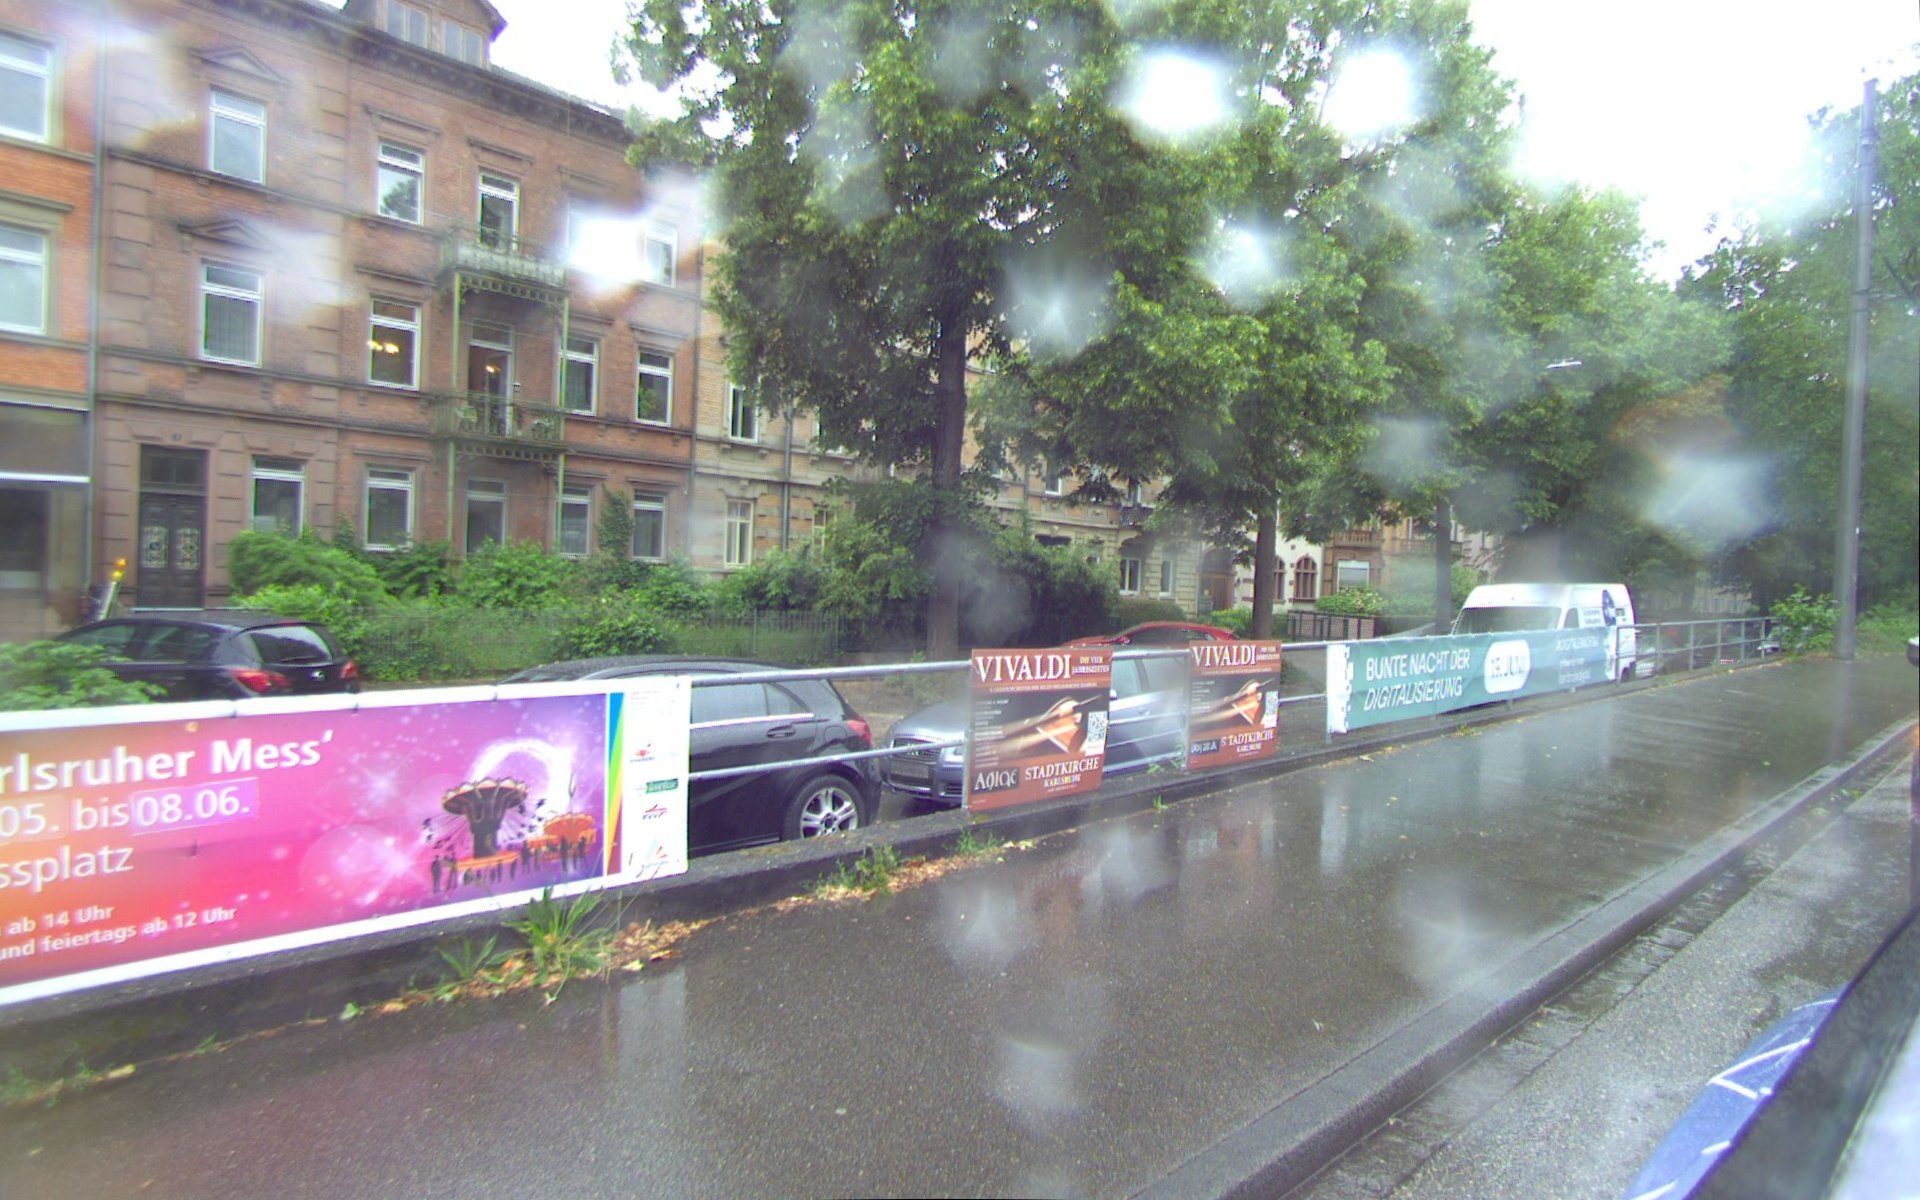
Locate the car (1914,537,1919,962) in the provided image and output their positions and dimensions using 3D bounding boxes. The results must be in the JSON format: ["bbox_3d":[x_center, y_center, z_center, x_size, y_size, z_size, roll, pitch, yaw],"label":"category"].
[{"bbox_3d":[5.745,0.596,4.501,3.612,1.687,1.755,0,1,-39],"label":"car"}]

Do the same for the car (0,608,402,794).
[{"bbox_3d":[-8.542,0.985,11.014,3.931,1.735,1.997,0,0,7],"label":"car"}]

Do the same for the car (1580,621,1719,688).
[{"bbox_3d":[16.657,1.240,24.368,4.312,1.370,1.968,0,0,-44],"label":"car"}]

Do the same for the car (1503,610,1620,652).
[{"bbox_3d":[25.587,1.284,43.174,3.947,1.629,1.815,1,1,19],"label":"car"}]

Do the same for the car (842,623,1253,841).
[{"bbox_3d":[0.993,1.058,9.777,4.006,1.559,1.734,0,0,-43],"label":"car"}]

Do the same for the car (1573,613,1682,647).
[{"bbox_3d":[32.067,1.422,48.732,3.942,1.482,1.904,0,1,15],"label":"car"}]

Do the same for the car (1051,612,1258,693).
[{"bbox_3d":[4.387,1.117,22.732,4.372,1.471,1.888,2,1,18],"label":"car"}]

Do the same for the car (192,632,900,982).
[{"bbox_3d":[-2.447,1.001,6.522,3.903,1.417,1.706,0,1,-41],"label":"car"}]

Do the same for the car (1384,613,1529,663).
[{"bbox_3d":[16.507,1.234,33.892,4.214,1.397,1.679,2,2,22],"label":"car"}]

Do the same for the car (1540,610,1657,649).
[{"bbox_3d":[28.495,1.305,45.295,3.942,1.585,1.991,0,1,15],"label":"car"}]

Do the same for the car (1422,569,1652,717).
[{"bbox_3d":[11.360,0.701,19.668,6.055,2.451,2.211,0,0,-43],"label":"car"}]
